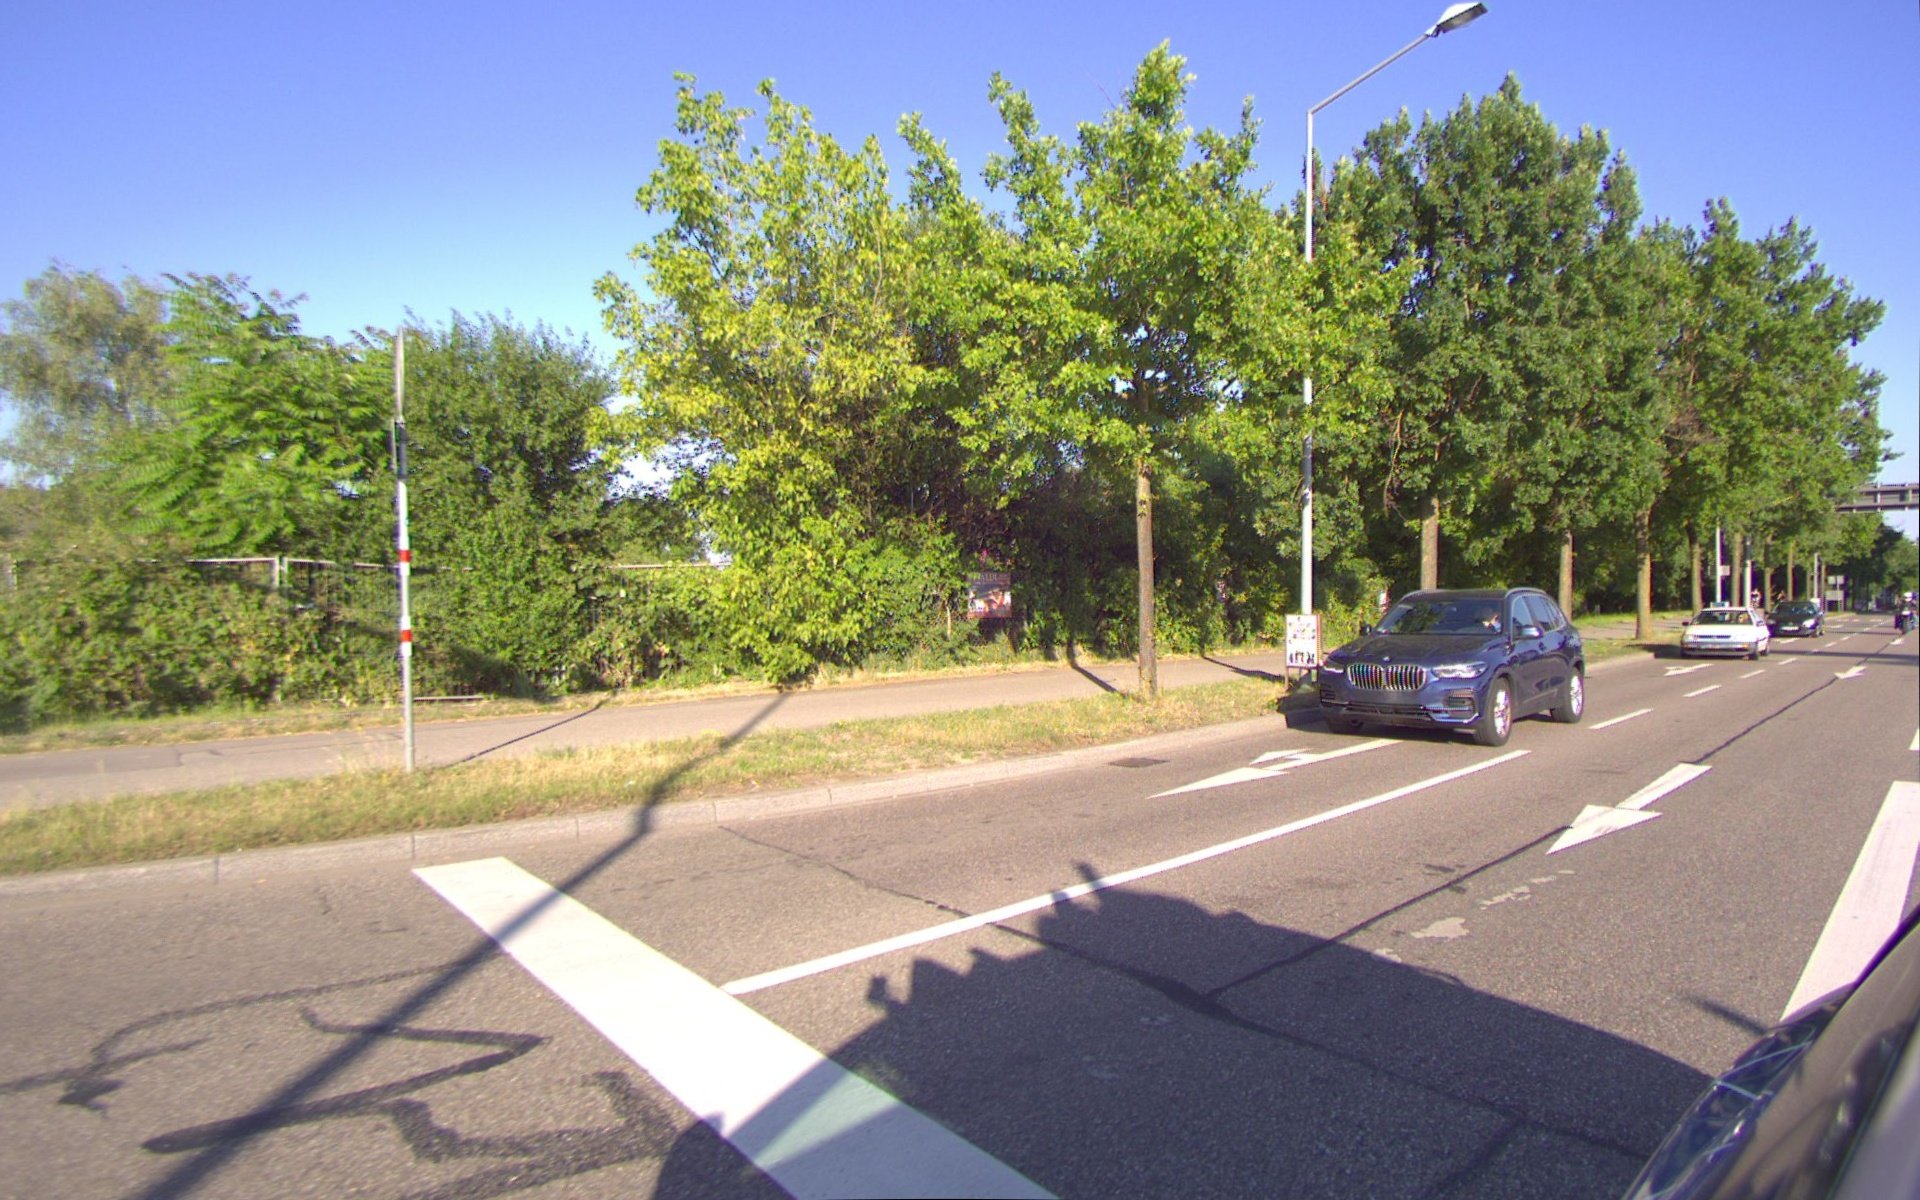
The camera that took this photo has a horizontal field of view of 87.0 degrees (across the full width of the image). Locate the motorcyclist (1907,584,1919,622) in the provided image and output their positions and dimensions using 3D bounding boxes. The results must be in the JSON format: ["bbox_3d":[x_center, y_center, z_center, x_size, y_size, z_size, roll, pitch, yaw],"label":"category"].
[{"bbox_3d":[38.745,0.119,40.854,0.733,1.530,0.904,1,1,45],"label":"motorcyclist"}]

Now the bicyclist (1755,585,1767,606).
[{"bbox_3d":[58.450,-0.360,73.848,0.833,1.520,0.614,0,0,-42],"label":"bicyclist"}]

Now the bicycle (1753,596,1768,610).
[{"bbox_3d":[58.320,0.202,73.728,1.791,0.986,0.617,0,0,-43],"label":"bicycle"}]

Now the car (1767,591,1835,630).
[{"bbox_3d":[33.855,0.442,40.701,1.722,1.519,4.145,-2,-2,45],"label":"car"}]

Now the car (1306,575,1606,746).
[{"bbox_3d":[6.367,0.590,12.709,4.623,1.748,1.956,-1,0,-45],"label":"car"}]

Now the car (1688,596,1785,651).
[{"bbox_3d":[21.676,0.628,28.204,3.972,1.416,1.611,1,-1,-45],"label":"car"}]

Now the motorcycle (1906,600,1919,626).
[{"bbox_3d":[38.570,0.519,40.680,0.747,0.995,2.106,0,1,45],"label":"motorcycle"}]
